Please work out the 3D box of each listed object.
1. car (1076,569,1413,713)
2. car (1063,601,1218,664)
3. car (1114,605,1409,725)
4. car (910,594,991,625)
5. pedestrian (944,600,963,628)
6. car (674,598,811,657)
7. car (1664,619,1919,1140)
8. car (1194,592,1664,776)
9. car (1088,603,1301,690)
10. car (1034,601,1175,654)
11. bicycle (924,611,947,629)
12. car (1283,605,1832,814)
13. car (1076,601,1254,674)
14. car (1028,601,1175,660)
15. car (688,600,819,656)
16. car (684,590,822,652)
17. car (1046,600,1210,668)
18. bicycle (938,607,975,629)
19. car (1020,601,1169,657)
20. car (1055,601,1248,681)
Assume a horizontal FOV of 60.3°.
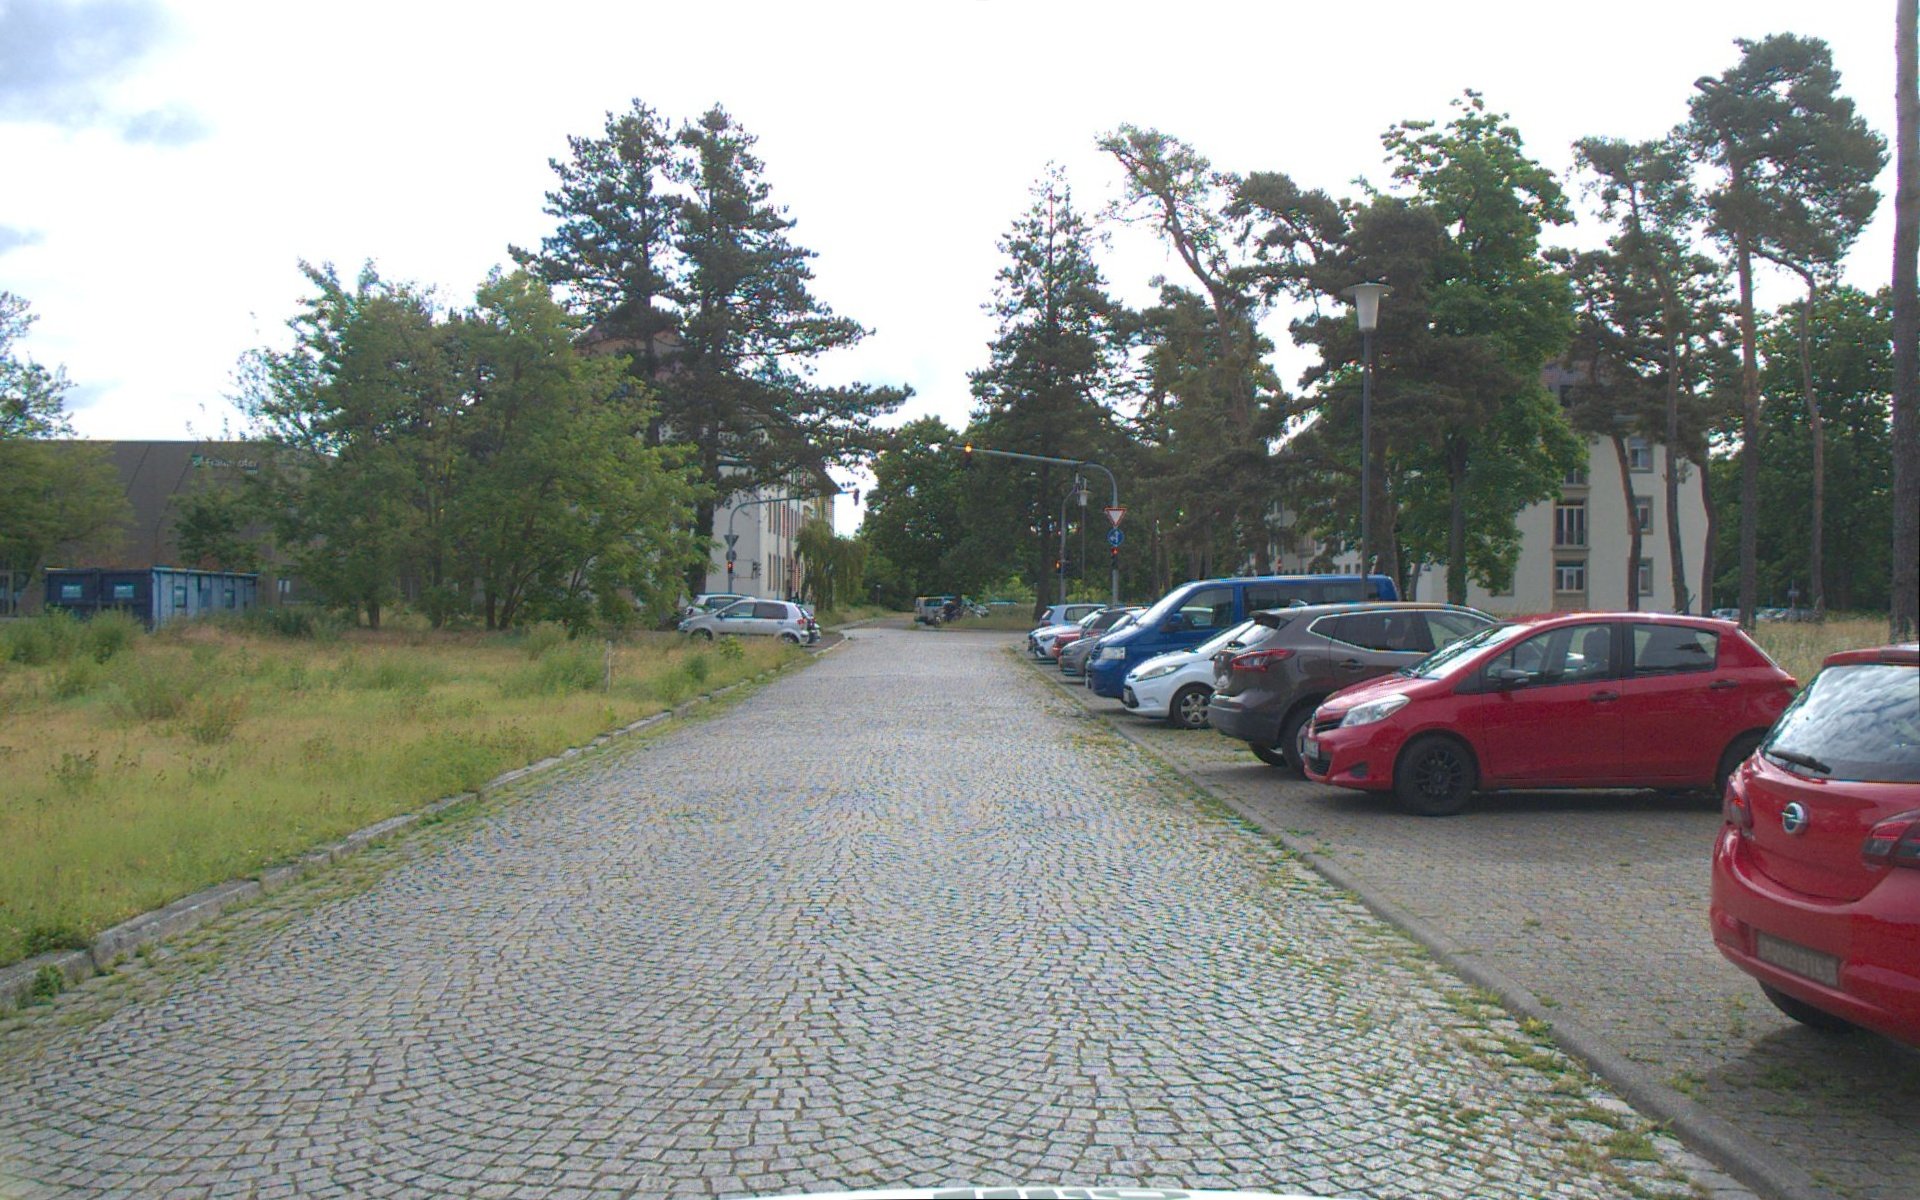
[{"bbox_3d":[4.175,0.589,24.779,4.659,1.989,1.930,-1,-1,-3],"label":"car"},{"bbox_3d":[4.429,0.791,40.819,3.598,1.475,1.523,-1,0,-3],"label":"car"},{"bbox_3d":[3.977,0.839,22.181,3.599,1.475,1.613,-1,0,-4],"label":"car"},{"bbox_3d":[-0.702,0.664,115.317,5.347,2.049,2.263,1,0,-10],"label":"car"},{"bbox_3d":[-0.390,0.835,97.755,1.013,1.642,0.756,1,0,-6],"label":"pedestrian"},{"bbox_3d":[-6.182,0.781,47.300,3.746,1.600,1.563,-1,0,-4],"label":"car"},{"bbox_3d":[4.634,0.797,5.576,3.748,1.486,1.779,-1,0,-2],"label":"car"},{"bbox_3d":[4.376,0.759,15.812,3.948,1.580,1.750,-1,0,-4],"label":"car"},{"bbox_3d":[4.224,0.832,30.057,3.598,1.475,1.523,-1,0,-3],"label":"car"},{"bbox_3d":[4.220,0.793,48.574,3.891,1.446,1.618,-1,0,-6],"label":"car"},{"bbox_3d":[-1.405,1.112,93.321,0.613,0.961,1.647,1,0,-28],"label":"bicycle"},{"bbox_3d":[4.616,0.815,13.166,3.715,1.486,1.750,-1,0,-1],"label":"car"},{"bbox_3d":[4.402,0.797,35.828,3.598,1.475,1.523,-1,0,-3],"label":"car"},{"bbox_3d":[3.665,0.791,43.057,3.600,1.446,1.522,-1,0,-6],"label":"car"},{"bbox_3d":[-6.180,0.826,49.717,3.744,1.600,1.564,-1,0,-2],"label":"car"},{"bbox_3d":[-6.571,0.666,52.698,4.176,1.873,1.743,-1,-1,-2],"label":"car"},{"bbox_3d":[3.889,0.778,38.524,3.598,1.475,1.523,-1,0,-3],"label":"car"},{"bbox_3d":[-0.191,1.047,97.414,2.095,1.236,0.621,1,0,-6],"label":"bicycle"},{"bbox_3d":[3.703,0.803,45.913,3.891,1.446,1.618,-1,0,-6],"label":"car"},{"bbox_3d":[3.764,0.802,32.827,3.598,1.475,1.523,-1,0,-3],"label":"car"}]
